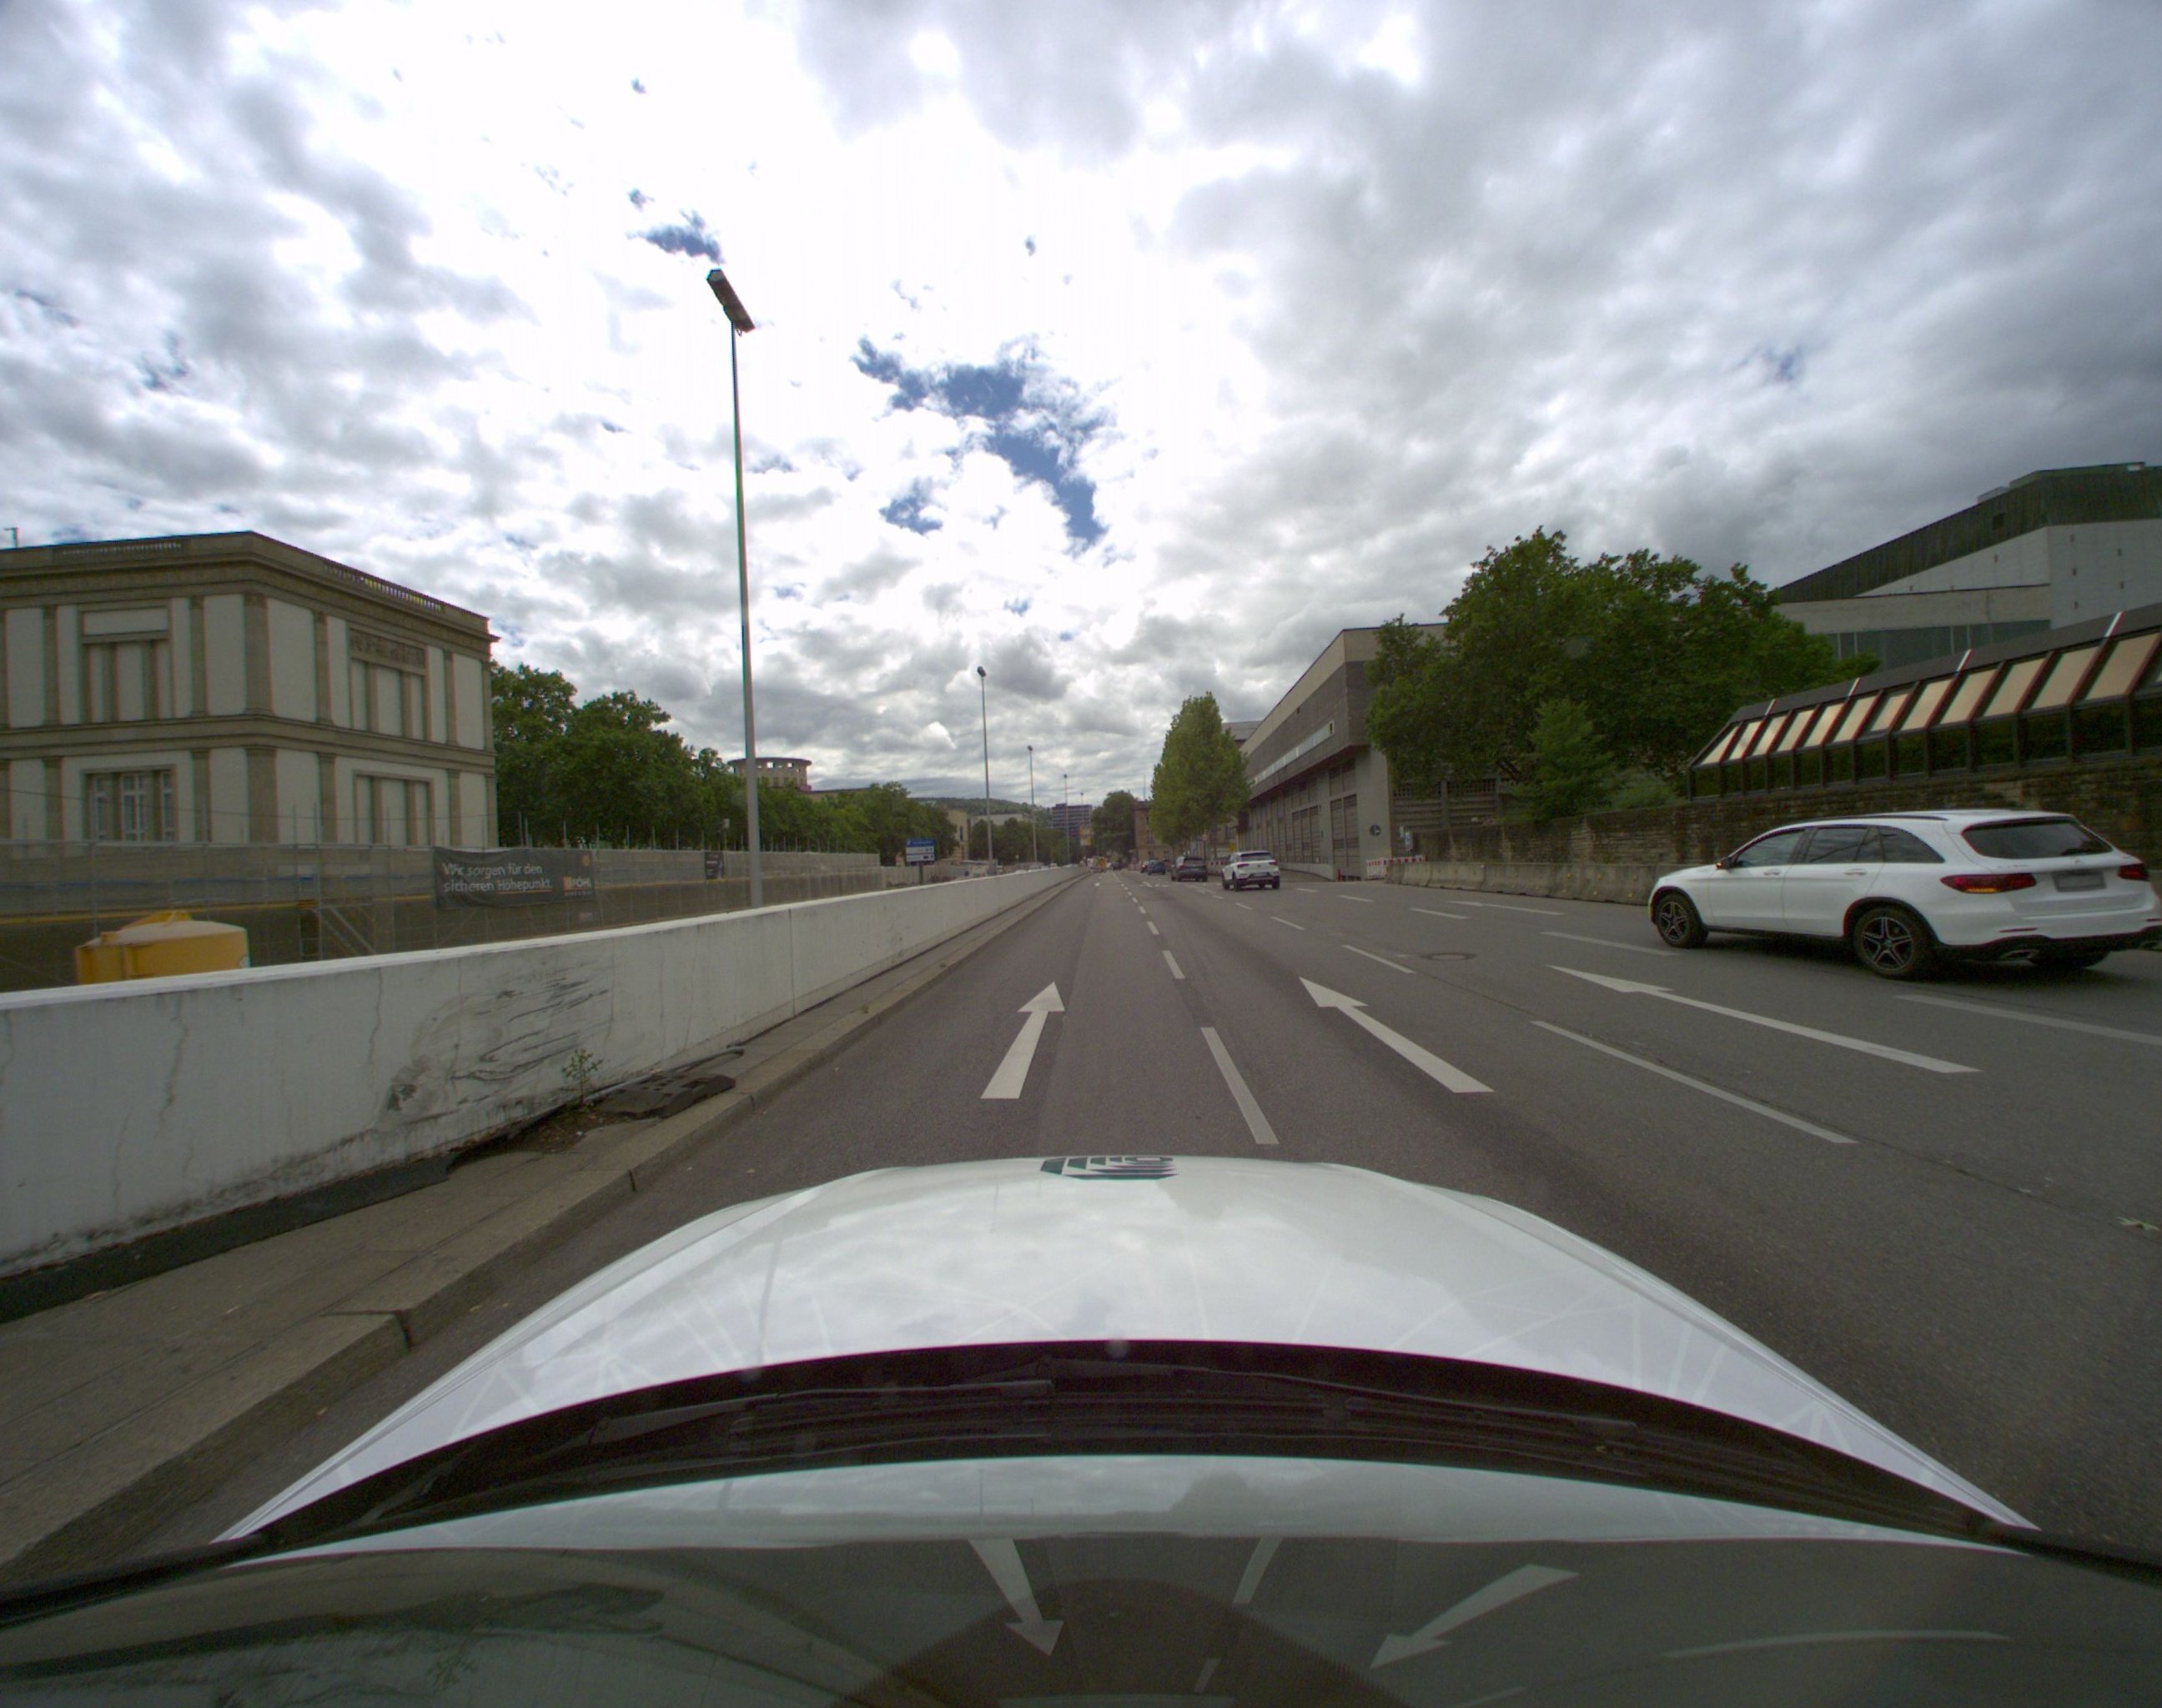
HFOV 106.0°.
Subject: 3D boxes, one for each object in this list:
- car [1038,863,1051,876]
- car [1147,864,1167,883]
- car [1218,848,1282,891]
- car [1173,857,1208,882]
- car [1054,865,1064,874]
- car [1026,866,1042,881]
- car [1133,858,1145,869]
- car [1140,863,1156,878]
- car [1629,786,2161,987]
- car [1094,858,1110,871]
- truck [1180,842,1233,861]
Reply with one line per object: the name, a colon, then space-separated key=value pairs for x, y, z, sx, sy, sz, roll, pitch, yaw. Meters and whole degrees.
car: x=-6.357 y=2.715 z=142.642 sx=1.986 sy=2.013 sz=4.002 roll=-3 pitch=1 yaw=2
car: x=7.637 y=1.915 z=81.346 sx=1.814 sy=1.740 sz=4.488 roll=-4 pitch=-1 yaw=7
car: x=6.923 y=0.649 z=33.736 sx=1.744 sy=1.568 sz=4.332 roll=-4 pitch=-1 yaw=1
car: x=7.185 y=1.046 z=53.829 sx=1.816 sy=1.568 sz=4.481 roll=0 pitch=-1 yaw=2
car: x=-4.580 y=3.255 z=171.856 sx=1.743 sy=1.567 sz=3.379 roll=-5 pitch=-1 yaw=3
car: x=-7.267 y=3.011 z=126.249 sx=1.986 sy=2.013 sz=4.002 roll=-3 pitch=1 yaw=2
car: x=10.160 y=1.653 z=142.233 sx=1.814 sy=1.740 sz=4.488 roll=-4 pitch=-1 yaw=7
car: x=8.563 y=2.123 z=104.009 sx=1.814 sy=1.740 sz=4.488 roll=-4 pitch=-1 yaw=7
car: x=8.798 y=0.294 z=9.383 sx=1.806 sy=1.642 sz=4.551 roll=-4 pitch=-1 yaw=0
car: x=4.062 y=2.016 z=156.214 sx=2.569 sy=2.374 sz=5.536 roll=-4 pitch=-1 yaw=6
truck: x=24.715 y=-0.413 z=160.373 sx=9.989 sy=3.051 sz=2.570 roll=-3 pitch=-2 yaw=2
